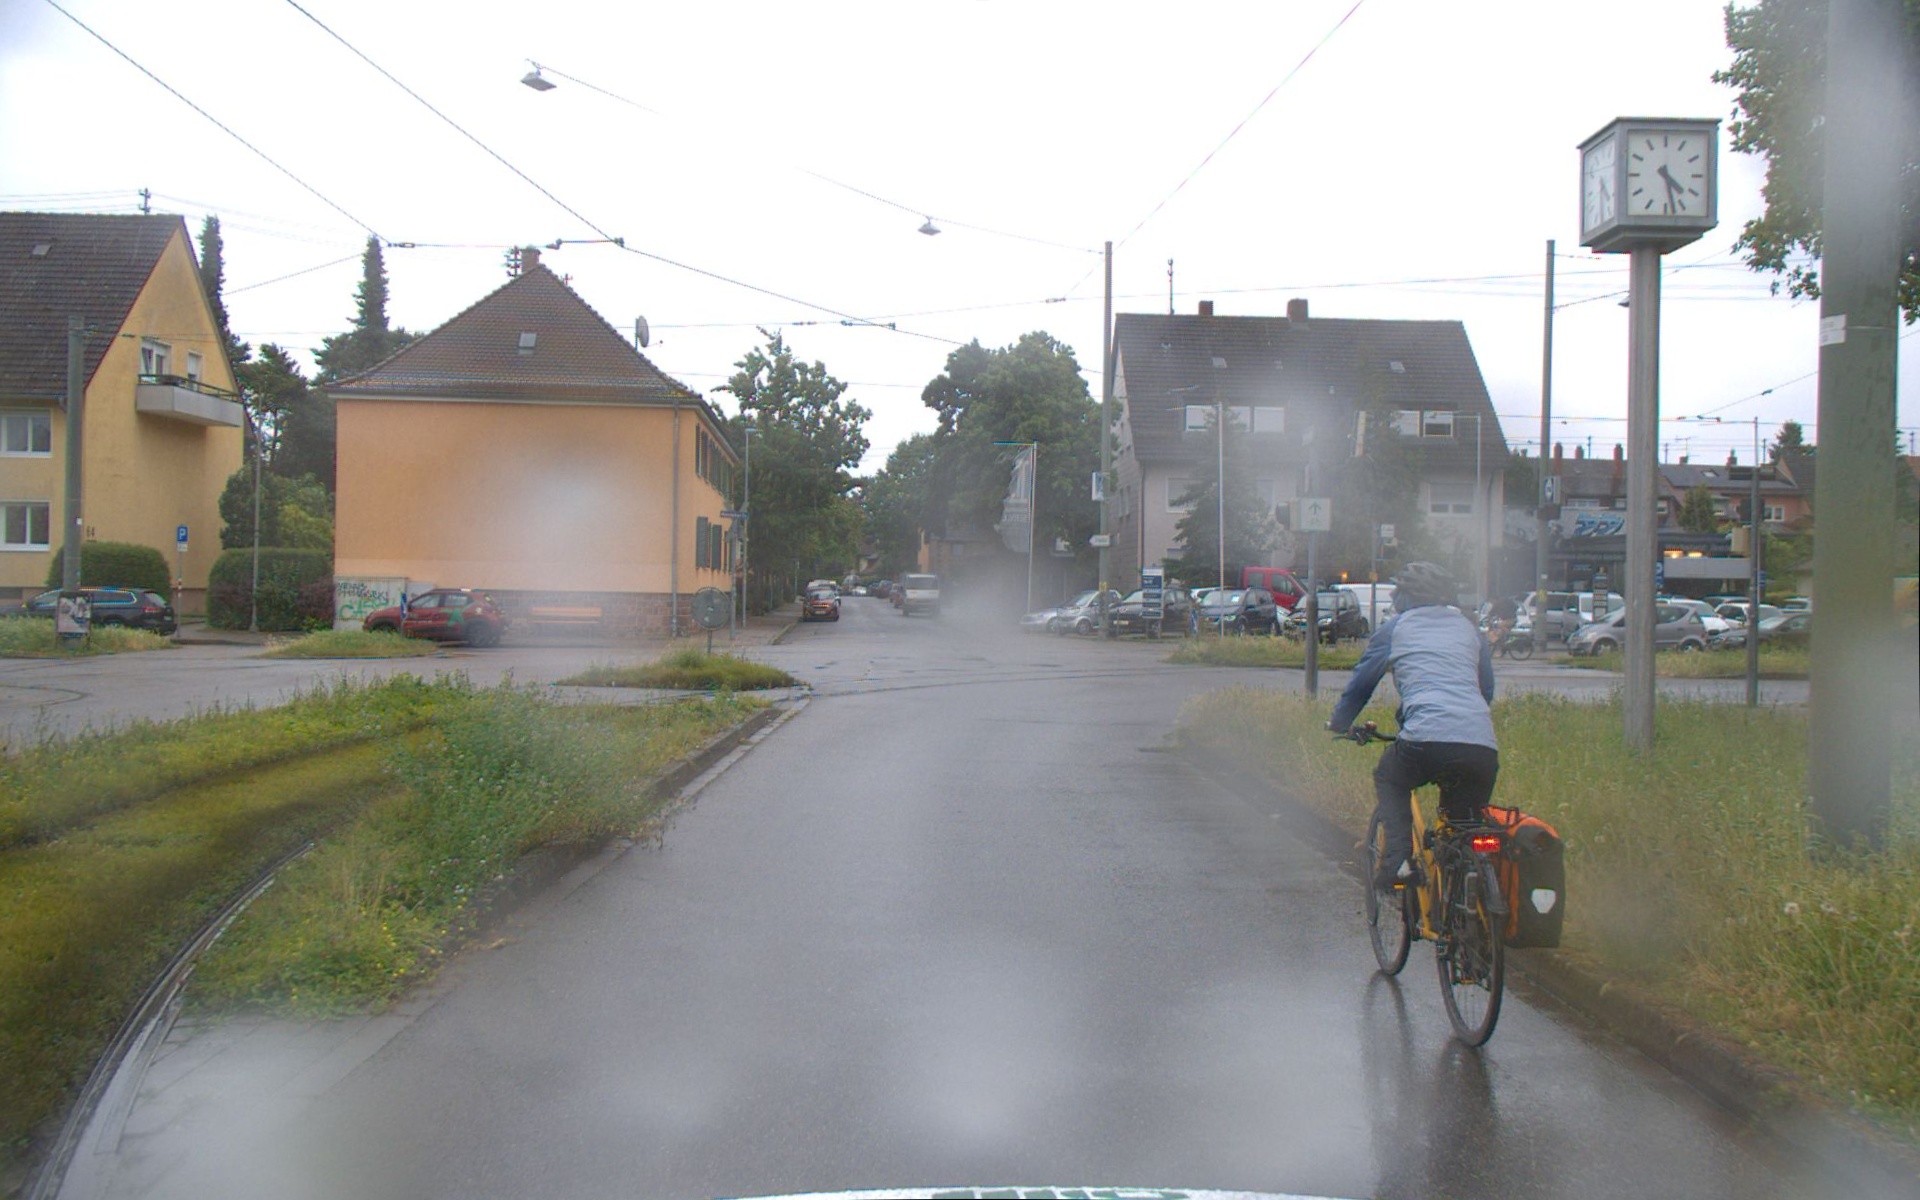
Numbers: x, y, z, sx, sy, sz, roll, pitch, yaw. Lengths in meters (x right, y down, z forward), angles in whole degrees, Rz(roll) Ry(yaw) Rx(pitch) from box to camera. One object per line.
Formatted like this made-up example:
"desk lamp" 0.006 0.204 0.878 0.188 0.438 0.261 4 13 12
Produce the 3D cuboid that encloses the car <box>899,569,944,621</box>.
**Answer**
"car" -2.106 -0.263 88.738 2.111 2.617 4.130 3 0 -4

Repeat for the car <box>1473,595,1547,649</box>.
"car" 17.153 0.674 51.766 1.789 1.530 4.061 3 0 13

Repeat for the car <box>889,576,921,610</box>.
"car" -3.530 -0.471 106.000 1.954 2.048 3.998 3 0 -2

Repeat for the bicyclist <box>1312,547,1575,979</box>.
"bicyclist" 1.790 0.570 6.239 0.735 1.511 0.846 0 0 0

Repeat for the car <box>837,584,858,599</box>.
"car" -14.589 -1.130 214.591 1.800 1.726 4.011 3 0 -18

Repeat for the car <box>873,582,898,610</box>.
"car" -5.709 -0.295 126.324 1.792 2.048 3.997 3 0 -3

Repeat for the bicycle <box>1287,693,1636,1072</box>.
"bicycle" 1.800 0.960 6.273 0.737 1.091 1.927 0 0 0

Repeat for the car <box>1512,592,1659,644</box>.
"car" 21.218 0.602 56.242 4.341 1.717 1.760 0 -1 0

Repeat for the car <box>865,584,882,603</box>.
"car" -9.991 -0.797 191.048 1.792 2.048 3.996 3 0 -4

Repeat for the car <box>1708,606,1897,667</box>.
"car" 23.052 0.985 45.331 4.288 1.362 1.722 4 0 -3

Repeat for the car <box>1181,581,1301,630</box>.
"car" 9.781 0.193 57.540 3.882 1.626 2.001 0 -1 18

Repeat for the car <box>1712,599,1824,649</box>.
"car" 25.431 0.719 52.183 1.682 1.420 3.843 3 0 1

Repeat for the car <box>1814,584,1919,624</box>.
"car" 38.314 0.170 69.745 4.374 1.608 1.781 1 -1 -24

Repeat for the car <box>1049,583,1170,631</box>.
"car" 5.166 0.232 57.114 3.805 1.606 1.796 0 0 -22

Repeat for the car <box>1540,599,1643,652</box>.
"car" 19.880 0.781 52.219 1.765 1.606 3.871 0 0 0

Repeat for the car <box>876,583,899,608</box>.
"car" -6.391 -0.418 145.771 1.792 2.048 3.996 3 0 -4

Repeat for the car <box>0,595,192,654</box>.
"car" -22.490 0.619 42.657 4.402 1.420 1.965 1 0 -4

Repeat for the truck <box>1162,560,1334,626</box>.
"truck" 10.513 -0.242 60.261 5.955 2.312 2.001 0 -1 18

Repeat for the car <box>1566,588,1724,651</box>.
"car" 18.741 0.522 45.335 3.560 1.530 1.721 3 0 -4

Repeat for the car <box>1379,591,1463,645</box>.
"car" 14.472 0.576 51.810 1.792 1.530 4.054 3 0 26

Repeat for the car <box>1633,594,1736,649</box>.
"car" 22.893 0.661 52.398 1.682 1.600 3.618 3 0 1

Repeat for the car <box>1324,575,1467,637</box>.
"car" 14.851 0.217 56.564 4.341 2.049 2.000 0 -1 0

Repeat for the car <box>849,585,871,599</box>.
"car" -12.653 -1.011 209.236 1.800 1.726 4.011 3 0 -18

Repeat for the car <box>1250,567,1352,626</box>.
"car" 10.705 -0.106 51.737 1.956 1.747 3.992 0 0 30

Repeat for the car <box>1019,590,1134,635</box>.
"car" 4.222 0.438 60.191 3.805 1.606 1.796 0 0 -22

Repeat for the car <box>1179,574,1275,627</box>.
"car" 8.481 0.014 52.353 1.768 1.606 3.864 0 0 30

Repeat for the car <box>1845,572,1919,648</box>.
"car" 31.528 0.358 54.161 2.102 2.448 5.147 3 0 -2

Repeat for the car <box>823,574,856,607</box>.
"car" -8.019 -0.631 110.218 1.954 2.048 3.998 3 0 -2

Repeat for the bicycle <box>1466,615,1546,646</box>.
"bicycle" 14.300 0.796 43.316 1.778 0.800 0.942 0 0 -4

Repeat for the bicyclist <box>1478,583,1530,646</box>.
"bicyclist" 14.248 0.374 43.301 1.018 1.626 0.949 0 0 -4

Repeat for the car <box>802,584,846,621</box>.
"car" -6.242 0.100 76.350 1.954 1.646 3.996 1 0 -4

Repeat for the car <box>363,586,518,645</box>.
"car" -13.664 0.400 43.682 3.535 1.362 1.721 3 0 -5

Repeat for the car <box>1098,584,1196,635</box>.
"car" 6.096 0.280 53.648 1.768 1.606 3.864 0 0 30
